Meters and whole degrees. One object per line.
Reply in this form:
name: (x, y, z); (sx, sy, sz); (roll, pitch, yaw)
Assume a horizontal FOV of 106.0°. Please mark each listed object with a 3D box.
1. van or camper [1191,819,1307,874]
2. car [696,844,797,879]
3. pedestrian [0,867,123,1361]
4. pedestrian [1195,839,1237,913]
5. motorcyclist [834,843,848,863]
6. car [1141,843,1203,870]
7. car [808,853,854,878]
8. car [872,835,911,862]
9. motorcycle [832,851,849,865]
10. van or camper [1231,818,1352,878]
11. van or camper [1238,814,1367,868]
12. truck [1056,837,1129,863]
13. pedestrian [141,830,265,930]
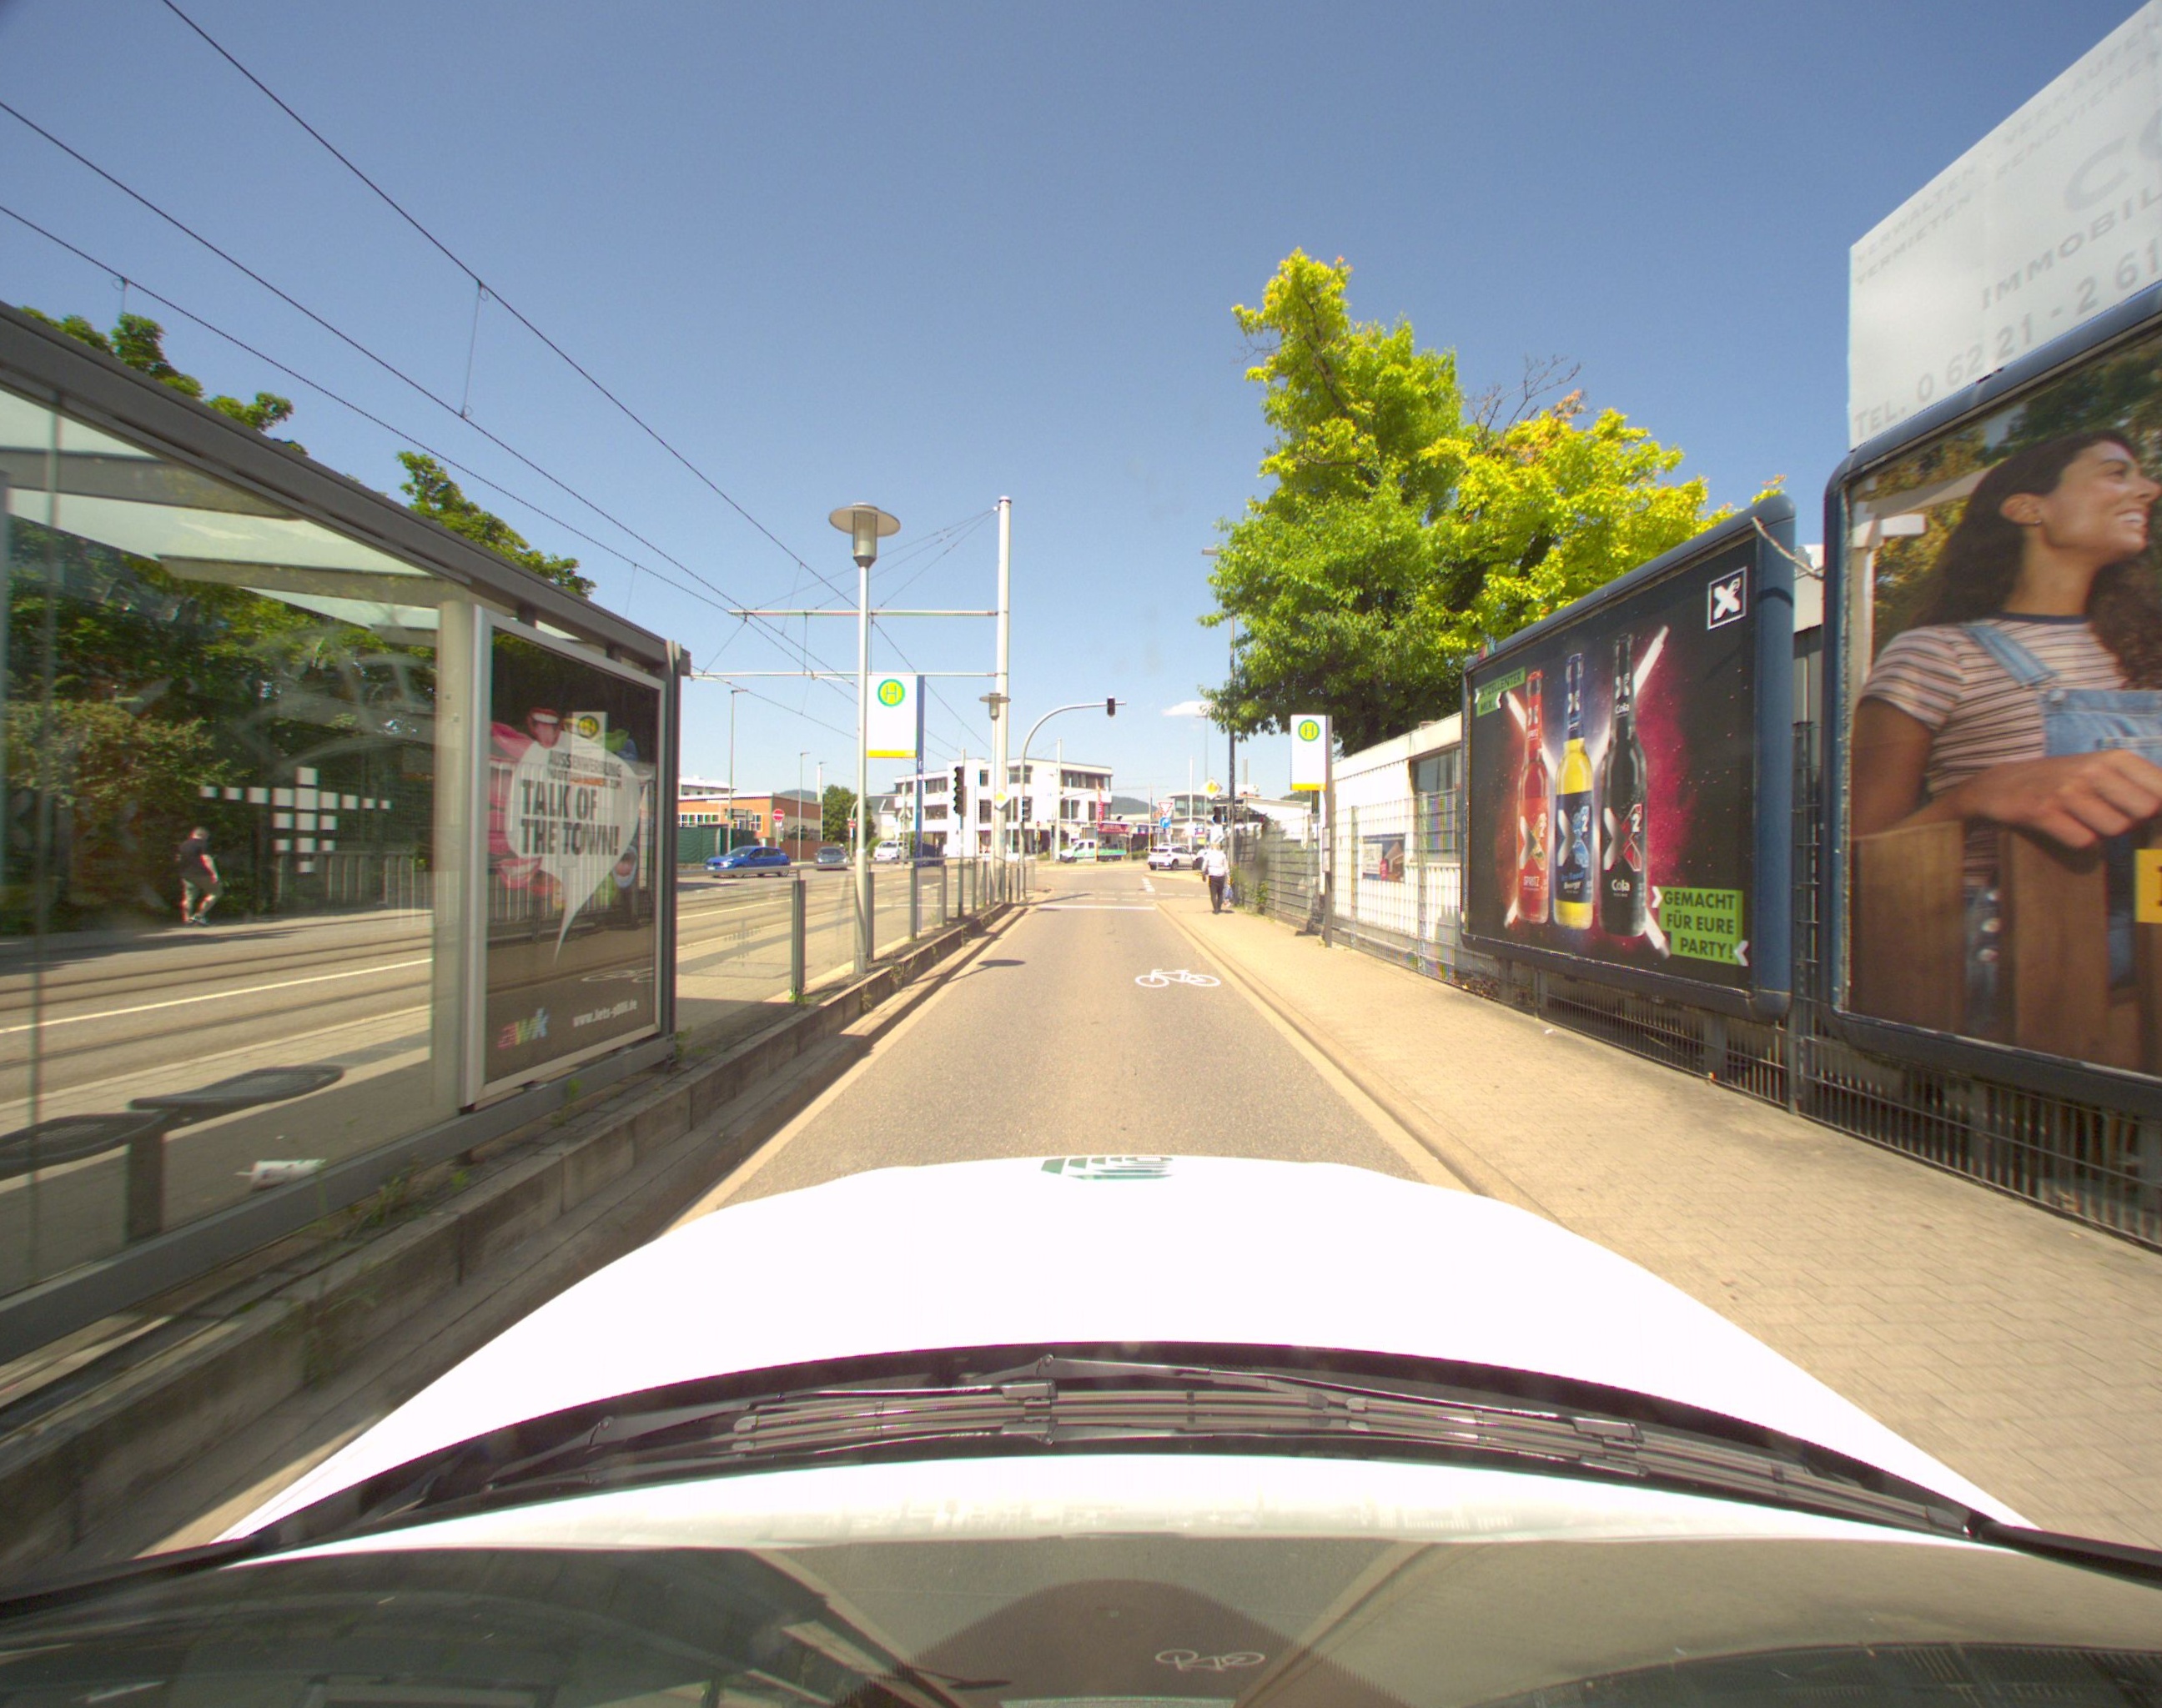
van or camper: (8.746, -0.422, 42.851); (5.785, 2.773, 2.093); (0, 1, 4)
car: (-15.396, 0.303, 37.680); (1.784, 1.537, 4.187); (0, 0, 26)
pedestrian: (-2.891, 0.585, 1.688); (0.939, 1.099, 0.726); (1, 1, 0)
pedestrian: (3.168, 0.503, 19.194); (0.810, 1.699, 0.887); (-1, 0, -1)
motorcyclist: (-17.805, -0.085, 60.449); (0.840, 1.475, 0.954); (0, -1, -27)
car: (6.125, 0.127, 54.475); (1.974, 1.733, 4.593); (0, 0, 38)
car: (-15.505, 0.662, 50.271); (1.917, 1.442, 4.554); (0, 0, -28)
car: (-15.848, -0.433, 68.328); (2.157, 2.014, 5.012); (2, -2, -2)
motorcycle: (-17.875, 0.334, 60.563); (0.827, 1.011, 1.946); (0, -1, -28)
van or camper: (10.216, -0.355, 39.874); (5.479, 2.813, 2.051); (1, 2, 5)
van or camper: (13.141, -0.746, 48.659); (7.035, 2.946, 2.336); (-2, 0, 1)
truck: (1.065, -0.357, 75.363); (6.383, 2.337, 2.197); (0, 0, -17)
pedestrian: (-15.306, 0.427, 14.234); (0.883, 1.670, 1.160); (0, 0, 1)
